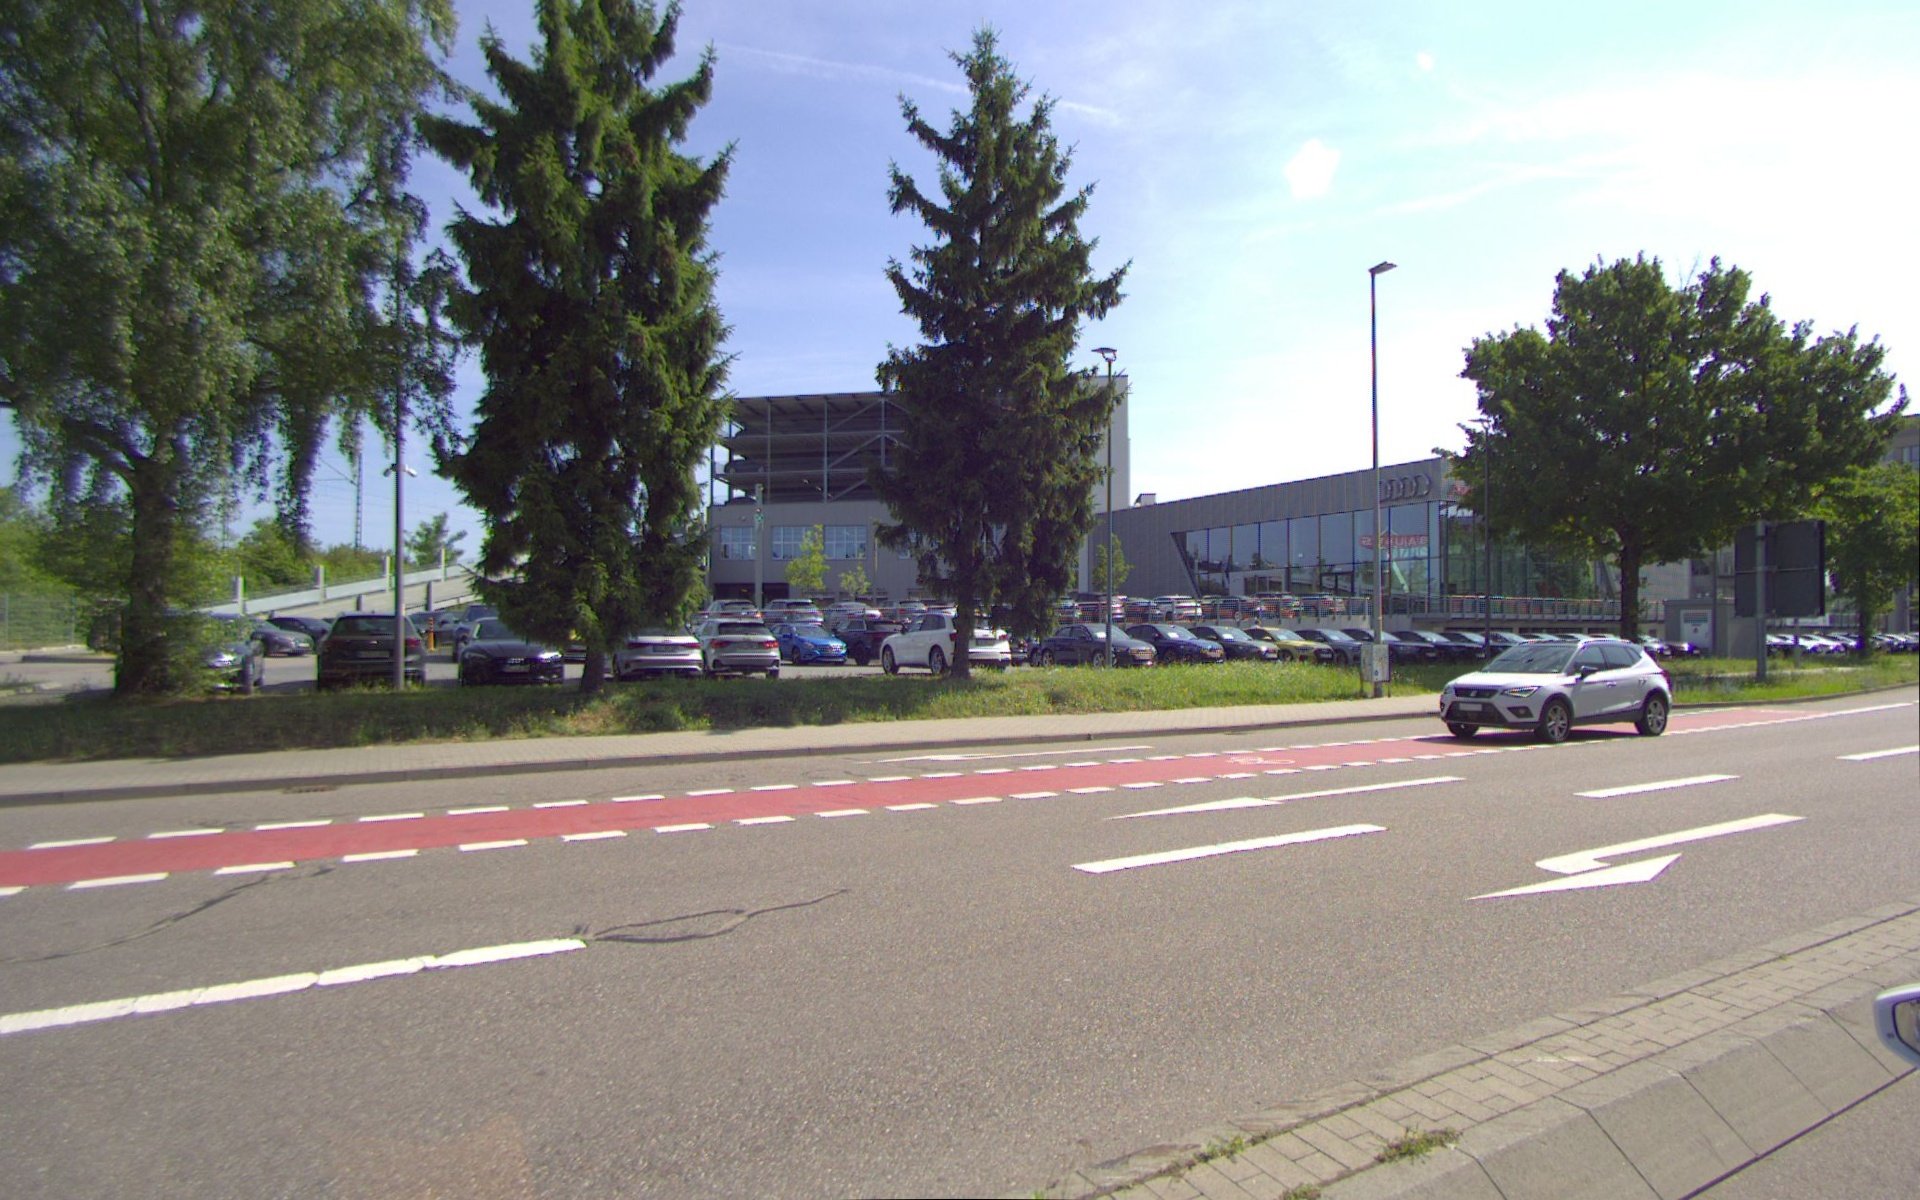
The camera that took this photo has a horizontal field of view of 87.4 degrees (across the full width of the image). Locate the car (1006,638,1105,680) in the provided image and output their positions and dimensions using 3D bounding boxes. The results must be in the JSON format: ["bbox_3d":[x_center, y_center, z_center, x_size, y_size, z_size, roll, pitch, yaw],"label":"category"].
[{"bbox_3d":[3.718,2.288,39.722,1.870,1.437,3.966,1,0,-32],"label":"car"}]

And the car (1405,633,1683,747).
[{"bbox_3d":[9.452,1.370,16.258,4.050,1.639,1.987,1,-3,-26],"label":"car"}]

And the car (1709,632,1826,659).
[{"bbox_3d":[40.802,2.307,50.832,2.064,1.171,4.154,1,-5,-32],"label":"car"}]

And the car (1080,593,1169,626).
[{"bbox_3d":[8.179,0.512,50.318,1.958,1.571,4.476,1,-2,-31],"label":"car"}]

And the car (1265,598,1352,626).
[{"bbox_3d":[19.688,0.650,56.929,1.963,1.516,4.498,1,0,-30],"label":"car"}]

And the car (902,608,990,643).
[{"bbox_3d":[-0.699,1.155,45.141,1.958,1.504,4.476,1,-2,-31],"label":"car"}]

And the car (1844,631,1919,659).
[{"bbox_3d":[54.479,2.638,58.538,1.976,1.460,3.972,1,-5,-29],"label":"car"}]

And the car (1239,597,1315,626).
[{"bbox_3d":[17.436,0.603,55.452,1.648,1.516,3.968,1,0,-30],"label":"car"}]

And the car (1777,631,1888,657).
[{"bbox_3d":[47.312,2.396,54.539,1.933,1.205,4.154,1,-5,-32],"label":"car"}]

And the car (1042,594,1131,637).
[{"bbox_3d":[6.107,0.781,48.873,1.958,1.988,4.476,1,-2,-31],"label":"car"}]

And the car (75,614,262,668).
[{"bbox_3d":[-26.242,1.336,33.401,4.666,1.639,2.001,1,0,2],"label":"car"}]

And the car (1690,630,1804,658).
[{"bbox_3d":[38.591,2.173,49.355,1.876,1.171,3.968,1,-5,-32],"label":"car"}]

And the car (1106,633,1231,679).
[{"bbox_3d":[6.269,1.703,30.499,1.725,1.302,3.576,1,-3,-31],"label":"car"}]

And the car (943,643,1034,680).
[{"bbox_3d":[1.052,2.350,38.488,1.844,1.302,3.576,1,-3,-31],"label":"car"}]

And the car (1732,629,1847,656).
[{"bbox_3d":[43.035,2.228,52.195,1.933,1.205,4.154,1,-5,-32],"label":"car"}]

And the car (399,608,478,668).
[{"bbox_3d":[-15.275,1.057,29.335,1.785,1.585,4.220,1,0,-31],"label":"car"}]

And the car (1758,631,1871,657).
[{"bbox_3d":[45.429,2.347,53.494,1.933,1.205,4.154,1,-5,-32],"label":"car"}]

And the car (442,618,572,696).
[{"bbox_3d":[-9.333,1.067,20.466,1.976,1.285,4.828,1,0,-30],"label":"car"}]

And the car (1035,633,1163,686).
[{"bbox_3d":[3.964,1.667,29.185,1.725,1.302,3.771,1,0,-31],"label":"car"}]

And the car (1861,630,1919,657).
[{"bbox_3d":[56.963,2.563,60.004,1.976,1.460,4.232,1,-5,-29],"label":"car"}]

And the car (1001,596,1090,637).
[{"bbox_3d":[3.990,0.828,47.608,1.958,1.839,4.476,1,-2,-31],"label":"car"}]

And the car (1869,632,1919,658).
[{"bbox_3d":[58.706,2.727,61.441,1.976,1.460,4.124,1,-5,-29],"label":"car"}]

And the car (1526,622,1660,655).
[{"bbox_3d":[27.065,1.630,43.075,1.982,1.307,4.476,1,-2,-31],"label":"car"}]

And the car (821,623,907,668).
[{"bbox_3d":[-3.472,1.579,35.781,1.626,1.420,3.710,1,0,-31],"label":"car"}]

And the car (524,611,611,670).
[{"bbox_3d":[-12.150,1.196,30.956,1.976,1.643,3.969,1,0,-29],"label":"car"}]

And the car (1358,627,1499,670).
[{"bbox_3d":[17.390,1.763,37.494,1.958,1.495,4.476,1,-2,-31],"label":"car"}]

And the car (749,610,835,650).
[{"bbox_3d":[-6.910,1.179,40.926,1.979,1.496,4.178,1,0,-33],"label":"car"}]

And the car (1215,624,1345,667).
[{"bbox_3d":[10.579,1.536,33.423,1.819,1.358,3.868,1,-3,-31],"label":"car"}]

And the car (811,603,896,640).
[{"bbox_3d":[-4.572,0.884,42.502,1.870,1.437,4.475,1,0,-31],"label":"car"}]

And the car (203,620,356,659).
[{"bbox_3d":[-26.185,1.501,38.734,4.666,1.388,1.815,1,0,2],"label":"car"}]

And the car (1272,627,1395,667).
[{"bbox_3d":[12.778,1.637,34.510,1.844,1.302,3.576,1,-3,-31],"label":"car"}]

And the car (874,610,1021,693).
[{"bbox_3d":[-0.435,1.248,26.024,1.975,1.900,4.444,1,0,-29],"label":"car"}]

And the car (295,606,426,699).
[{"bbox_3d":[-11.616,0.929,19.603,1.976,1.567,4.194,1,0,-30],"label":"car"}]

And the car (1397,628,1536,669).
[{"bbox_3d":[19.417,1.824,38.729,1.898,1.495,4.476,1,-2,-31],"label":"car"}]

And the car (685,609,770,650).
[{"bbox_3d":[-9.247,1.130,39.754,1.979,1.496,4.178,1,0,-33],"label":"car"}]

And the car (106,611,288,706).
[{"bbox_3d":[-13.393,0.934,17.938,1.976,1.408,4.665,1,0,-30],"label":"car"}]

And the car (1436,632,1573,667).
[{"bbox_3d":[21.656,1.946,40.113,1.898,1.307,4.476,1,-2,-31],"label":"car"}]

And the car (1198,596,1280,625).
[{"bbox_3d":[14.930,0.562,53.984,2.027,1.516,3.968,1,0,-30],"label":"car"}]

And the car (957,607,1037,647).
[{"bbox_3d":[1.645,1.237,46.124,1.646,1.728,4.246,1,-2,-31],"label":"car"}]

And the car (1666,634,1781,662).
[{"bbox_3d":[36.537,2.332,48.178,1.876,1.171,3.968,1,-5,-32],"label":"car"}]

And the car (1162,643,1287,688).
[{"bbox_3d":[8.306,2.061,31.812,1.644,1.302,3.723,1,-3,-31],"label":"car"}]

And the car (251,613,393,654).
[{"bbox_3d":[-25.999,1.352,41.026,4.666,1.567,1.815,1,0,2],"label":"car"}]

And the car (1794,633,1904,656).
[{"bbox_3d":[49.121,2.475,55.597,1.933,1.091,4.154,1,-5,-32],"label":"car"}]

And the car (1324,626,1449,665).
[{"bbox_3d":[15.104,1.641,35.729,1.963,1.302,3.661,1,-3,-32],"label":"car"}]

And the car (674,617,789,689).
[{"bbox_3d":[-5.560,1.207,24.092,1.823,1.506,3.973,1,0,-26],"label":"car"}]

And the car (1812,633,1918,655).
[{"bbox_3d":[51.005,2.477,56.674,1.678,1.047,4.088,1,-5,-32],"label":"car"}]

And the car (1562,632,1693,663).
[{"bbox_3d":[29.576,2.059,44.664,1.898,1.307,4.476,1,-2,-31],"label":"car"}]

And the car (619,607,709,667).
[{"bbox_3d":[-9.626,1.128,32.455,1.976,1.780,3.969,1,0,-29],"label":"car"}]

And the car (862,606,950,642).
[{"bbox_3d":[-2.422,1.070,43.985,1.958,1.504,4.476,1,-2,-31],"label":"car"}]

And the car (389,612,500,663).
[{"bbox_3d":[-17.272,1.206,33.862,1.628,1.567,4.036,1,0,1],"label":"car"}]

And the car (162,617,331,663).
[{"bbox_3d":[-25.657,1.417,36.223,4.666,1.545,2.001,1,0,2],"label":"car"}]

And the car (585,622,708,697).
[{"bbox_3d":[-6.807,1.202,21.581,1.795,1.389,3.663,1,0,-30],"label":"car"}]

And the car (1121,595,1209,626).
[{"bbox_3d":[10.520,0.585,51.820,1.958,1.504,4.476,1,-2,-31],"label":"car"}]
